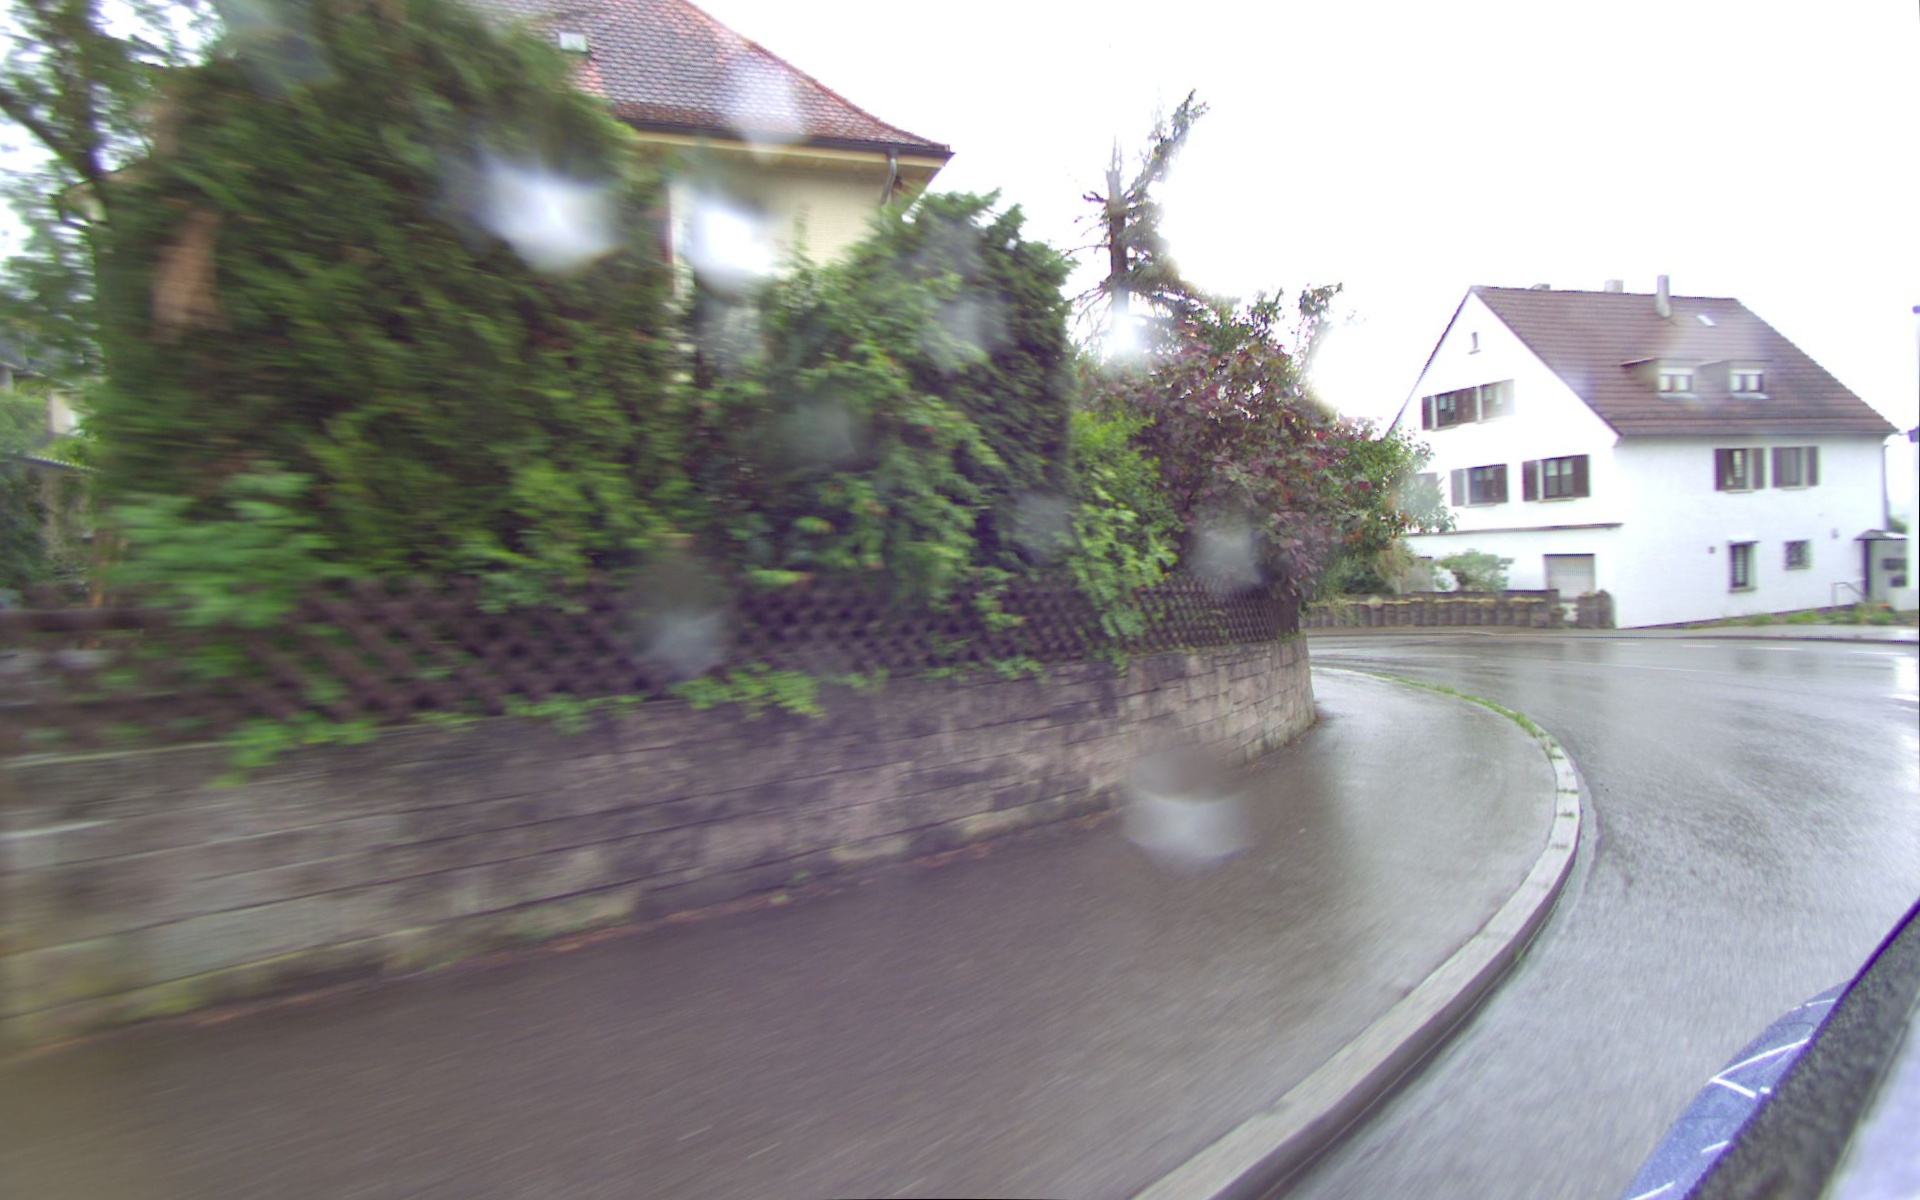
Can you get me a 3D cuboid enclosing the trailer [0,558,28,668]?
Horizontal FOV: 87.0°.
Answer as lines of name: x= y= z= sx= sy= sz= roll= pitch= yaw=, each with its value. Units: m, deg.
trailer: x=-10.172 y=0.129 z=9.343 sx=1.377 sy=1.127 sz=2.975 roll=0 pitch=0 yaw=-23
